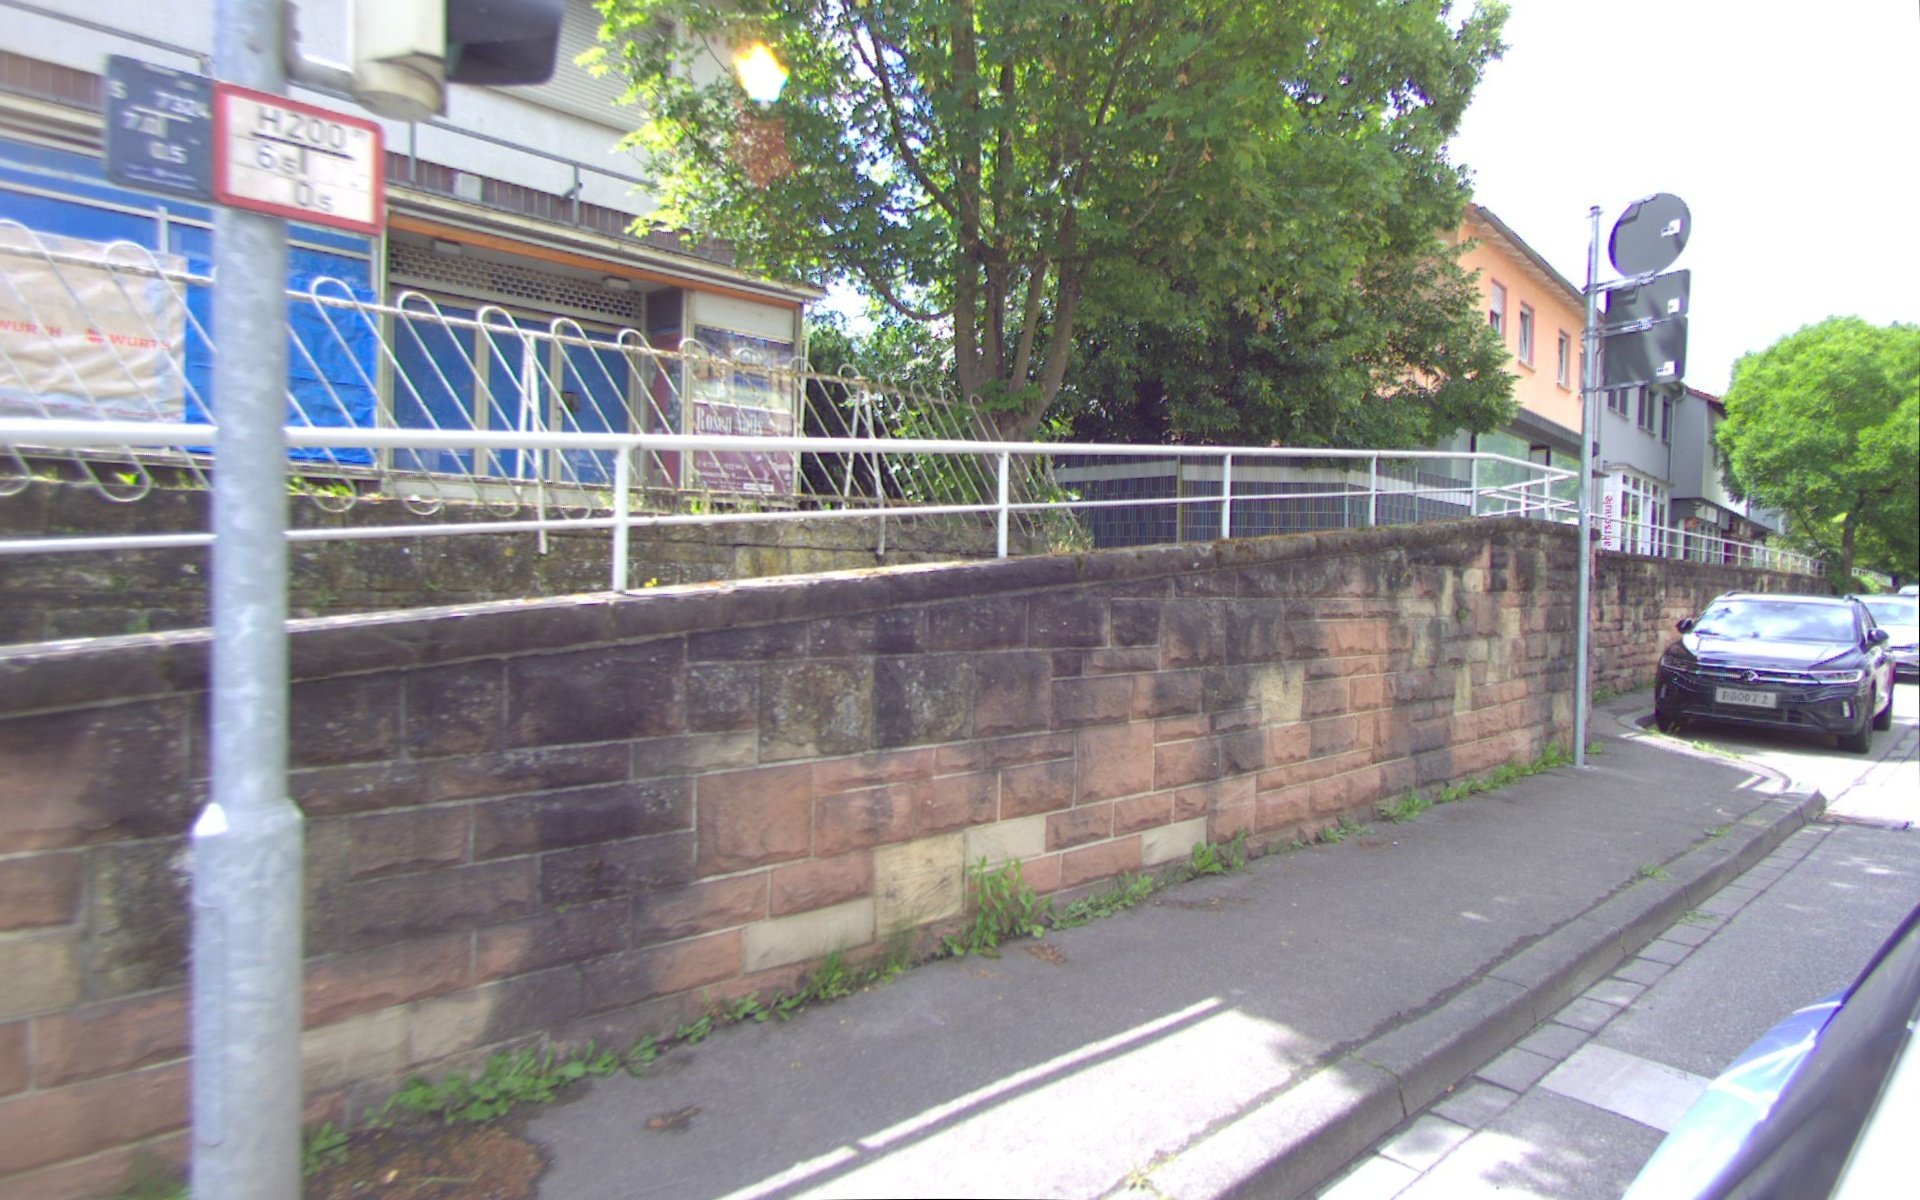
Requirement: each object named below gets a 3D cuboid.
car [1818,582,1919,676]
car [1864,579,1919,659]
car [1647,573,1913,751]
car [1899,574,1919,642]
[{"bbox_3d":[17.989,0.508,19.476,4.105,1.587,1.758,0,3,-43],"label":"car"},{"bbox_3d":[22.467,0.406,23.550,3.933,1.737,1.757,-1,2,-43],"label":"car"},{"bbox_3d":[9.227,0.531,11.278,3.955,1.599,1.757,-1,3,-43],"label":"car"},{"bbox_3d":[30.996,0.241,31.775,4.886,2.033,1.851,-1,2,-43],"label":"car"}]
